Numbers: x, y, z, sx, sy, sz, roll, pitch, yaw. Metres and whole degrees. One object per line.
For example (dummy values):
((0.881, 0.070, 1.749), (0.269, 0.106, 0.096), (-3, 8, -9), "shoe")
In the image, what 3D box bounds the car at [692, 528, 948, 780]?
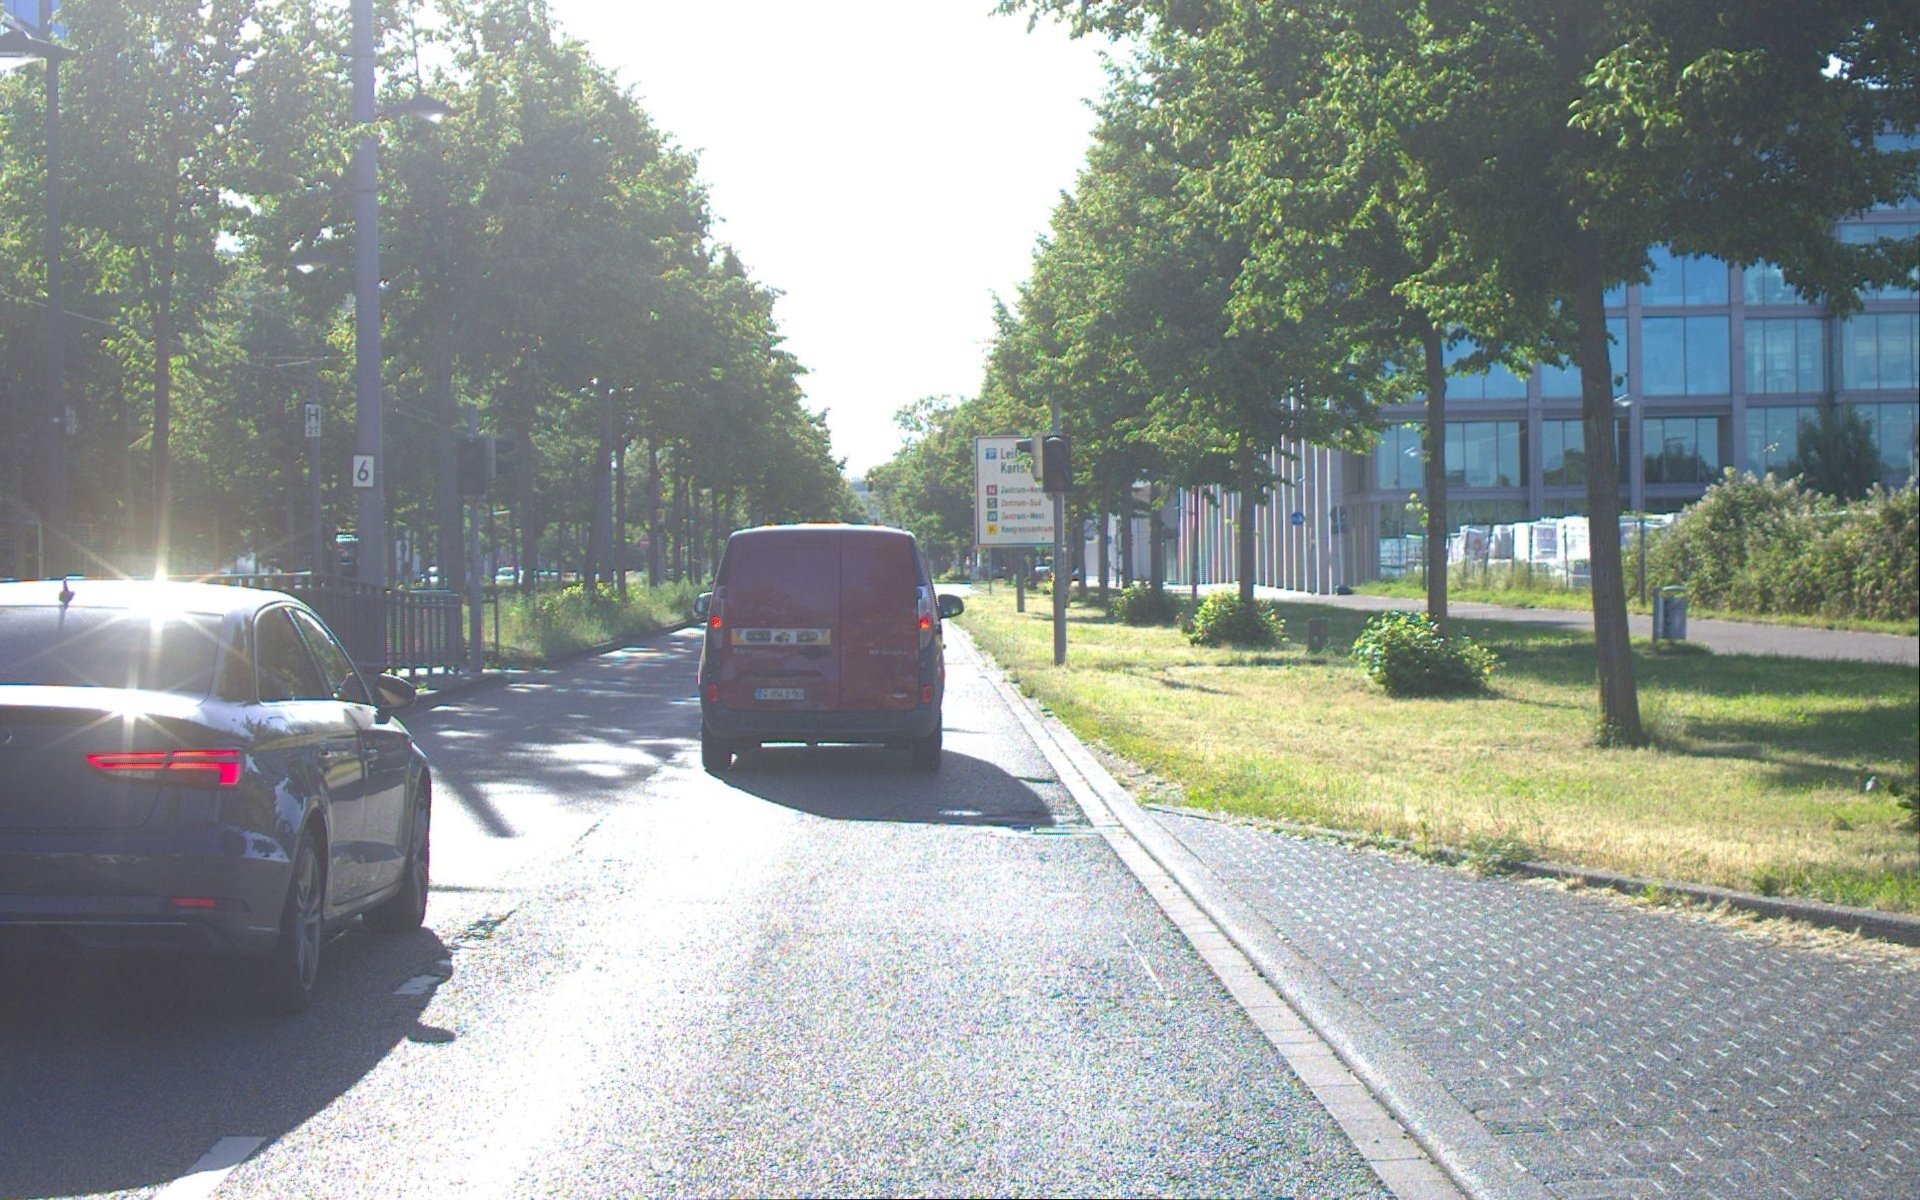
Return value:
((-1.075, 0.382, 26.276), (1.797, 1.771, 4.000), (0, 0, -3), "car")

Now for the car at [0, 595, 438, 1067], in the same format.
((-2.997, 0.681, 12.245), (1.721, 1.362, 4.146), (1, 0, -1), "car")

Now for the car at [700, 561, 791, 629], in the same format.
((-4.747, -0.121, 76.551), (1.942, 1.436, 4.001), (-1, 1, -3), "car")
